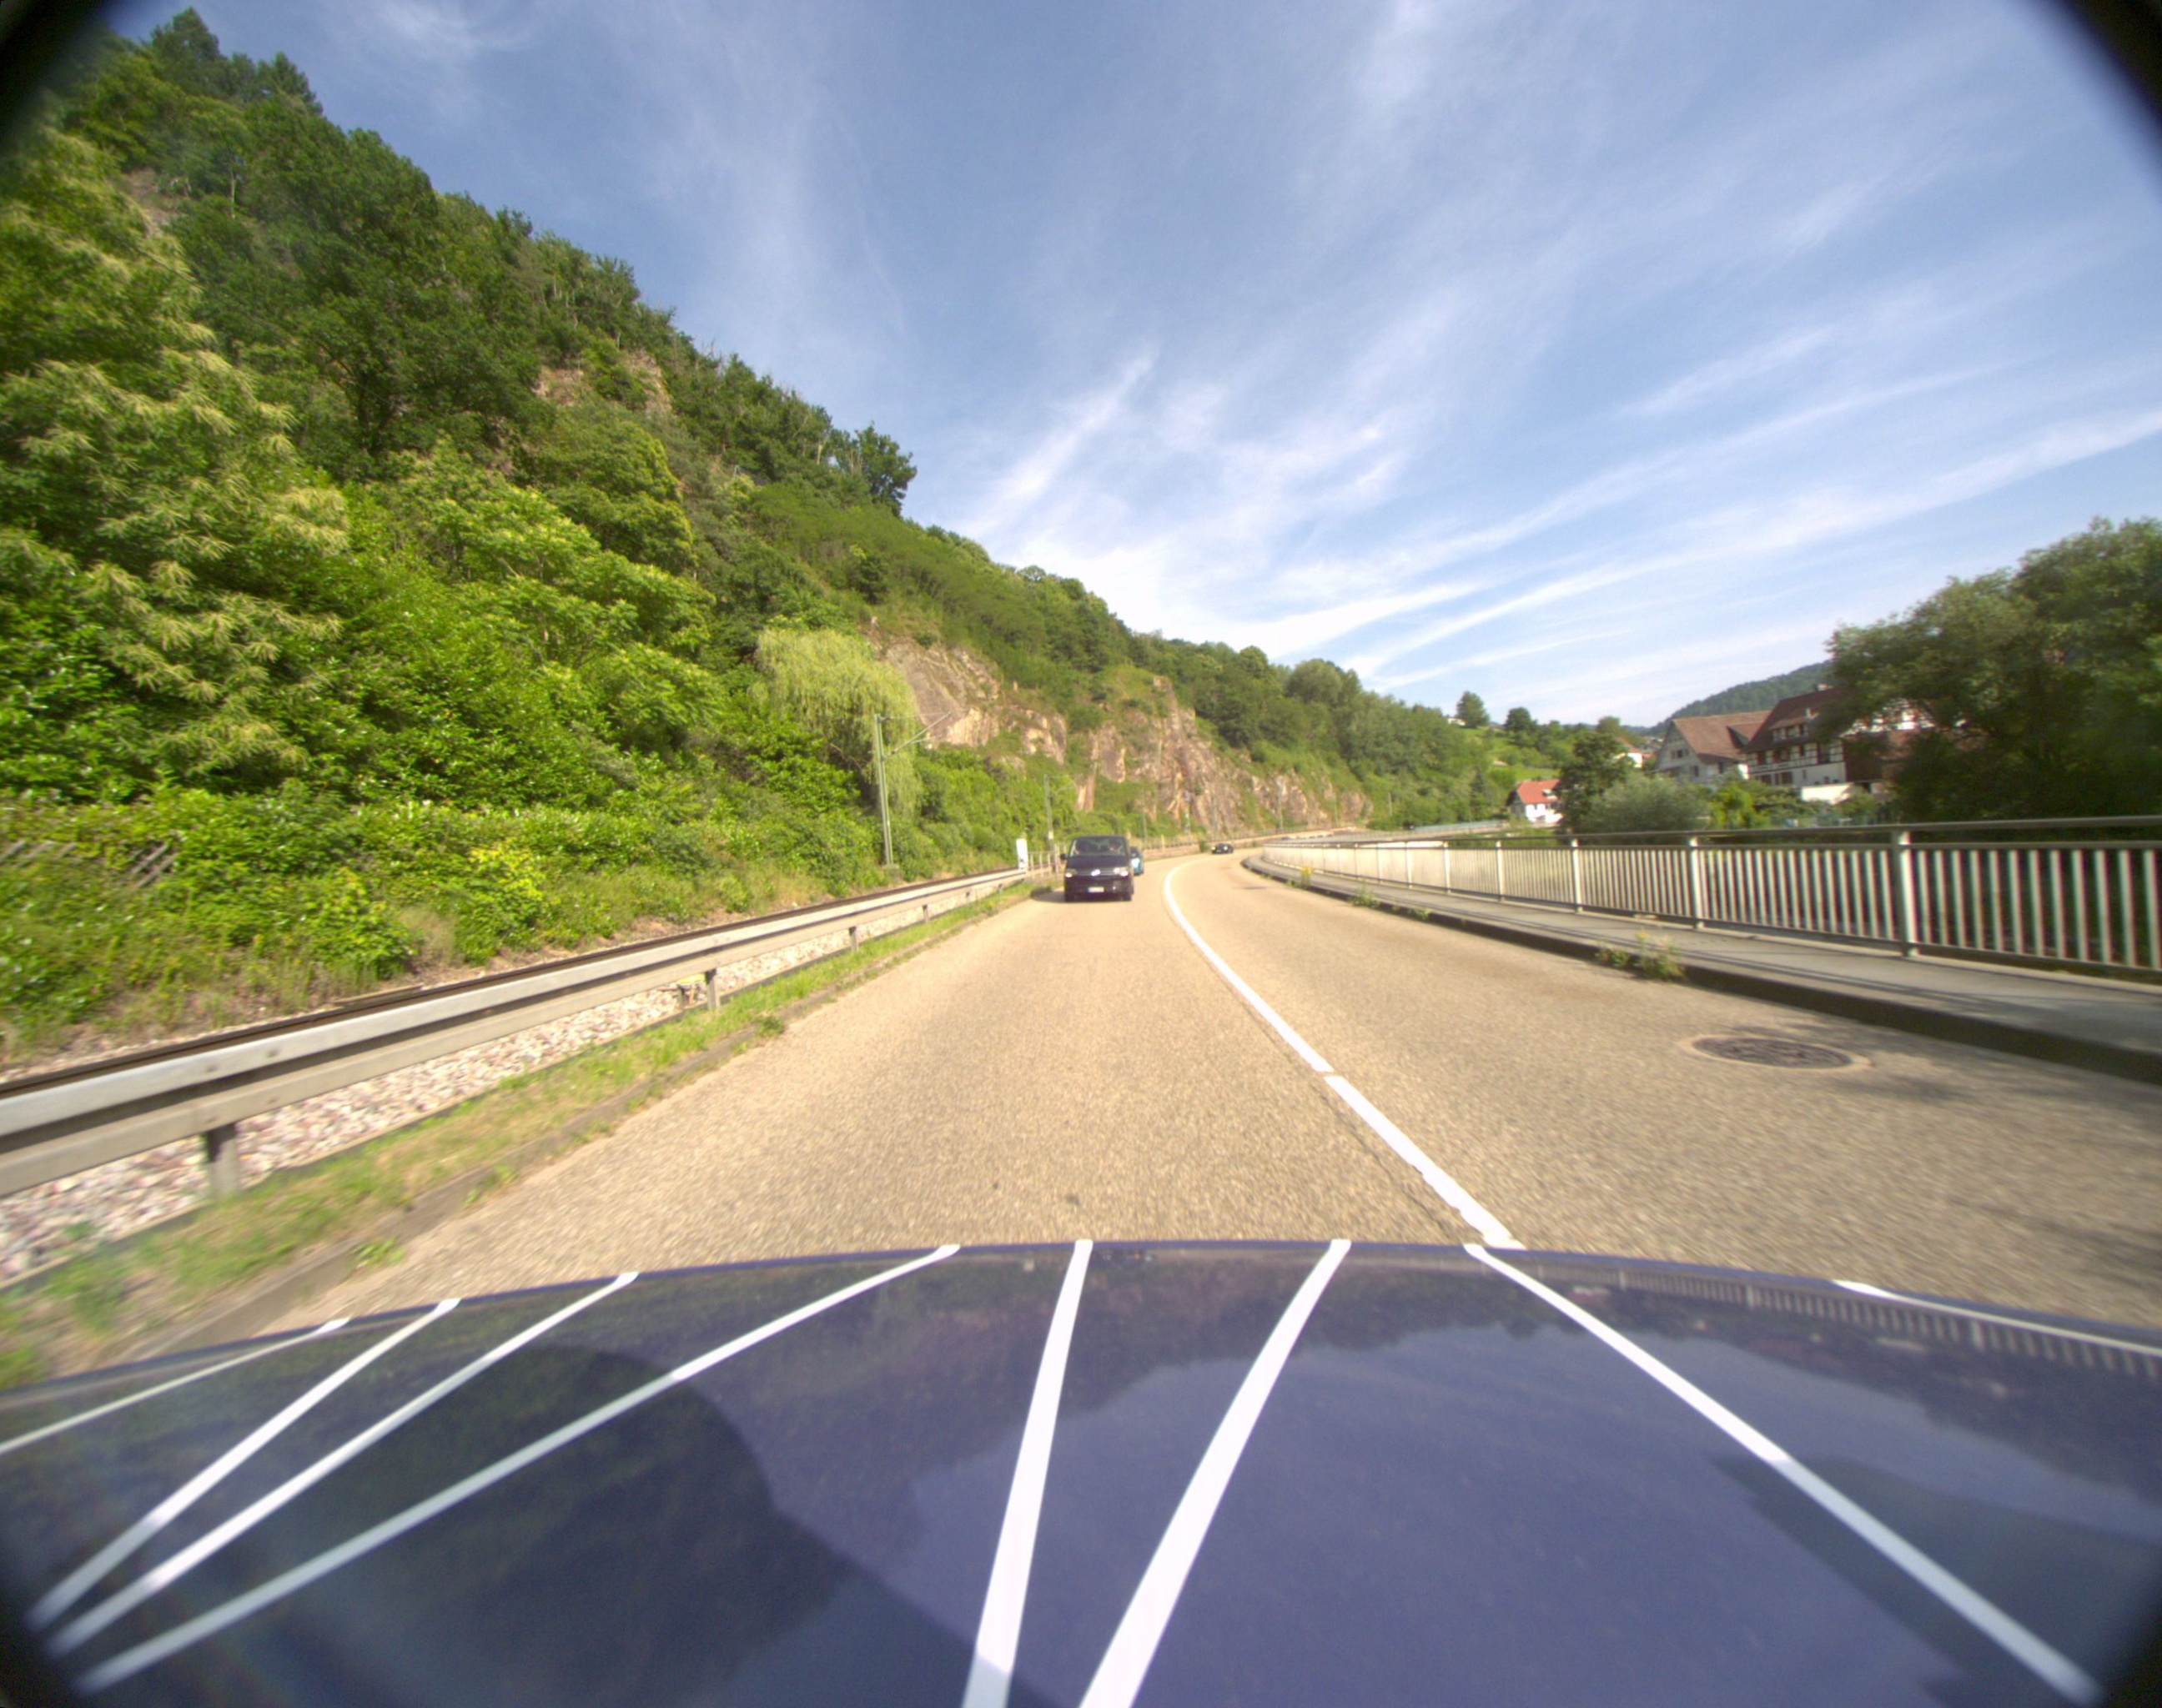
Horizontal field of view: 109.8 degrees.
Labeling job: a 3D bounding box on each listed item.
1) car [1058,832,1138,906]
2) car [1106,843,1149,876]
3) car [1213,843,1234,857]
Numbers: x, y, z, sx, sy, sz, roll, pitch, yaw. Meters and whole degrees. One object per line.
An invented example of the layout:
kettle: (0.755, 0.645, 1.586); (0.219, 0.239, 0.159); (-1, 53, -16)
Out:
car: (0.646, 0.368, 22.960); (1.886, 1.953, 4.867); (-2, 1, 7)
car: (2.505, 0.268, 40.031); (1.681, 1.513, 3.868); (-3, 1, 11)
car: (16.489, -0.503, 87.841); (1.700, 1.513, 3.477); (2, 1, 21)
